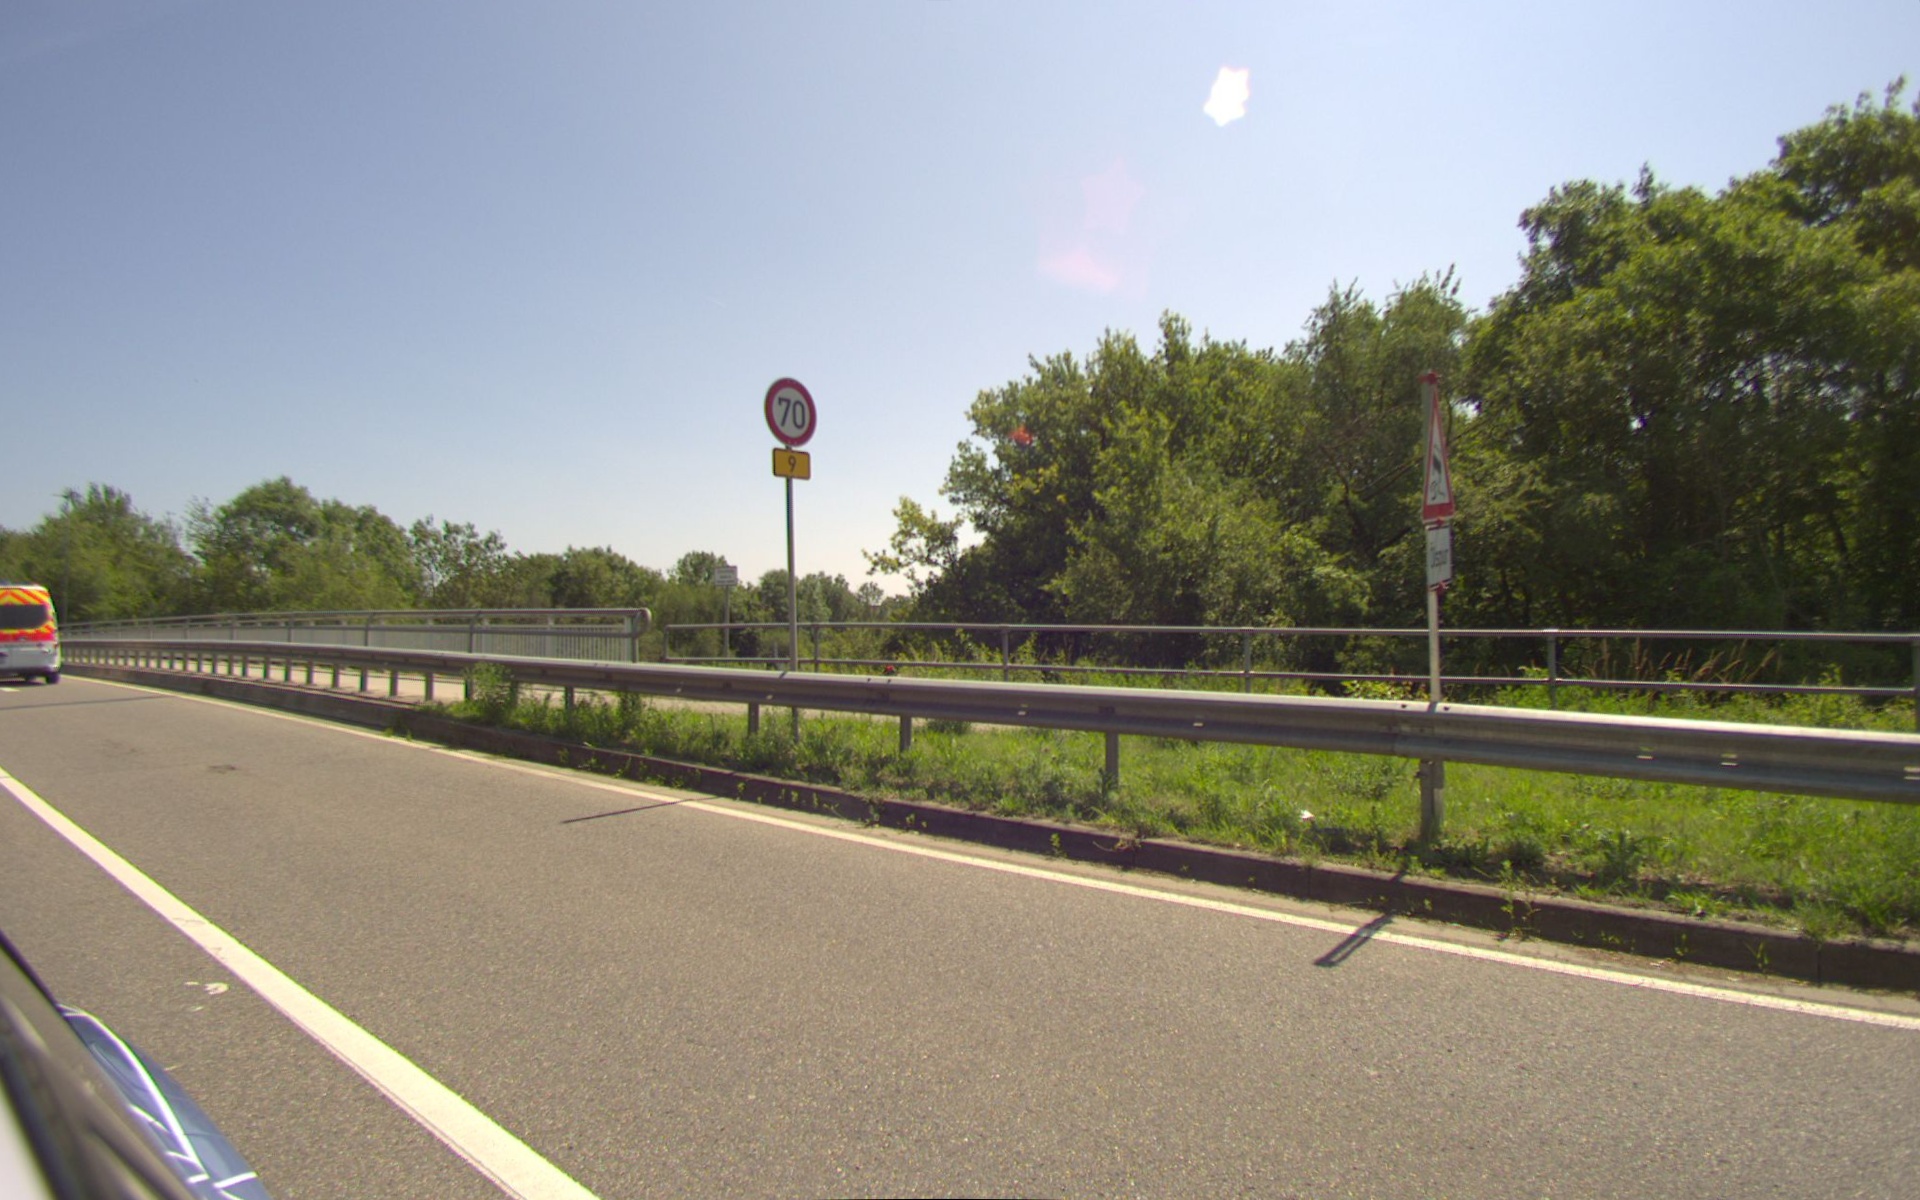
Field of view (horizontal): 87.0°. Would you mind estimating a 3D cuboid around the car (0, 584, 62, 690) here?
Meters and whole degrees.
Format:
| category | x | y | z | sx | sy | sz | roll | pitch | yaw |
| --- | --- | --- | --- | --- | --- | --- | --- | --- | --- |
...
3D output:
| category | x | y | z | sx | sy | sz | roll | pitch | yaw |
| --- | --- | --- | --- | --- | --- | --- | --- | --- | --- |
| car | -23.381 | 0.871 | 24.391 | 5.179 | 2.386 | 1.969 | -1 | -1 | 41 |
